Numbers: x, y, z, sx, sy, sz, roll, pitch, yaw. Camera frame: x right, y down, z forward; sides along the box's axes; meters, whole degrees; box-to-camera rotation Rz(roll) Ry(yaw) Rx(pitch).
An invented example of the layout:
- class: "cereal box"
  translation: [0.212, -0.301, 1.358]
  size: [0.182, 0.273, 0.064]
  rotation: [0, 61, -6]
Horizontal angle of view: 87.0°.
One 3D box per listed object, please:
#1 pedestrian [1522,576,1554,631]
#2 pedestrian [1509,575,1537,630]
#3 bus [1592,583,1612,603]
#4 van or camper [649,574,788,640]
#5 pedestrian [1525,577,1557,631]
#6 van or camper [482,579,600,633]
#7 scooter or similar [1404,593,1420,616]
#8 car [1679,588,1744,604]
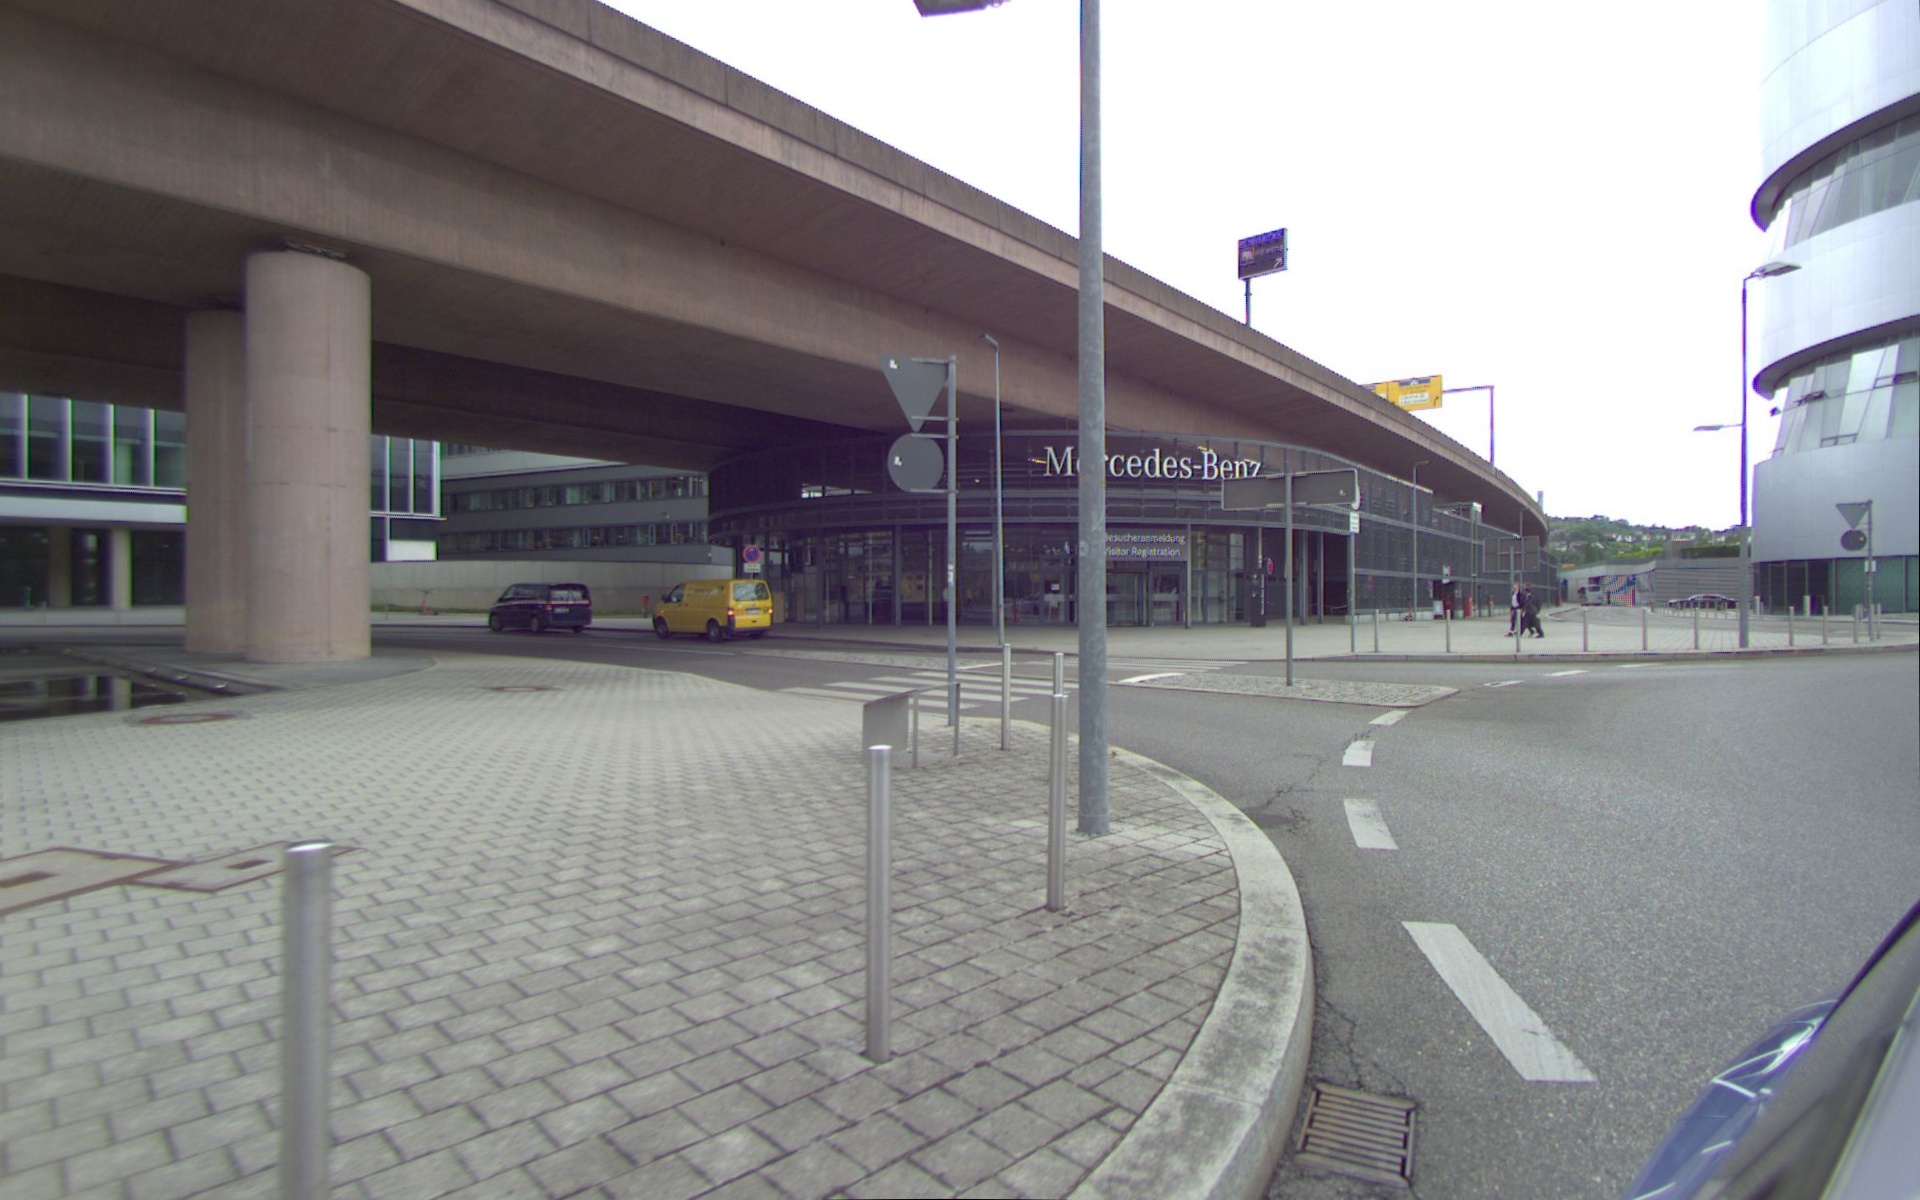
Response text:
- class: "pedestrian"
  translation: [18.303, 0.117, 32.058]
  size: [0.763, 1.727, 0.859]
  rotation: [1, -1, 22]
- class: "pedestrian"
  translation: [18.775, 0.075, 33.780]
  size: [0.776, 1.821, 0.857]
  rotation: [0, -1, 28]
- class: "bus"
  translation: [113.041, -1.213, 178.261]
  size: [2.910, 3.485, 6.886]
  rotation: [1, -1, 32]
- class: "van or camper"
  translation: [-7.970, 0.191, 33.263]
  size: [4.486, 2.024, 2.327]
  rotation: [0, 0, 42]
- class: "pedestrian"
  translation: [18.819, 0.134, 32.787]
  size: [0.763, 1.727, 0.782]
  rotation: [1, -1, 19]
- class: "van or camper"
  translation: [-16.049, 0.212, 38.635]
  size: [4.878, 1.917, 2.123]
  rotation: [1, -1, 40]
- class: "scooter or similar"
  translation: [23.048, 0.222, 51.582]
  size: [0.379, 1.137, 1.408]
  rotation: [0, -1, 38]
- class: "car"
  translation: [70.786, -0.366, 95.363]
  size: [4.878, 1.416, 1.515]
  rotation: [1, -1, 37]
